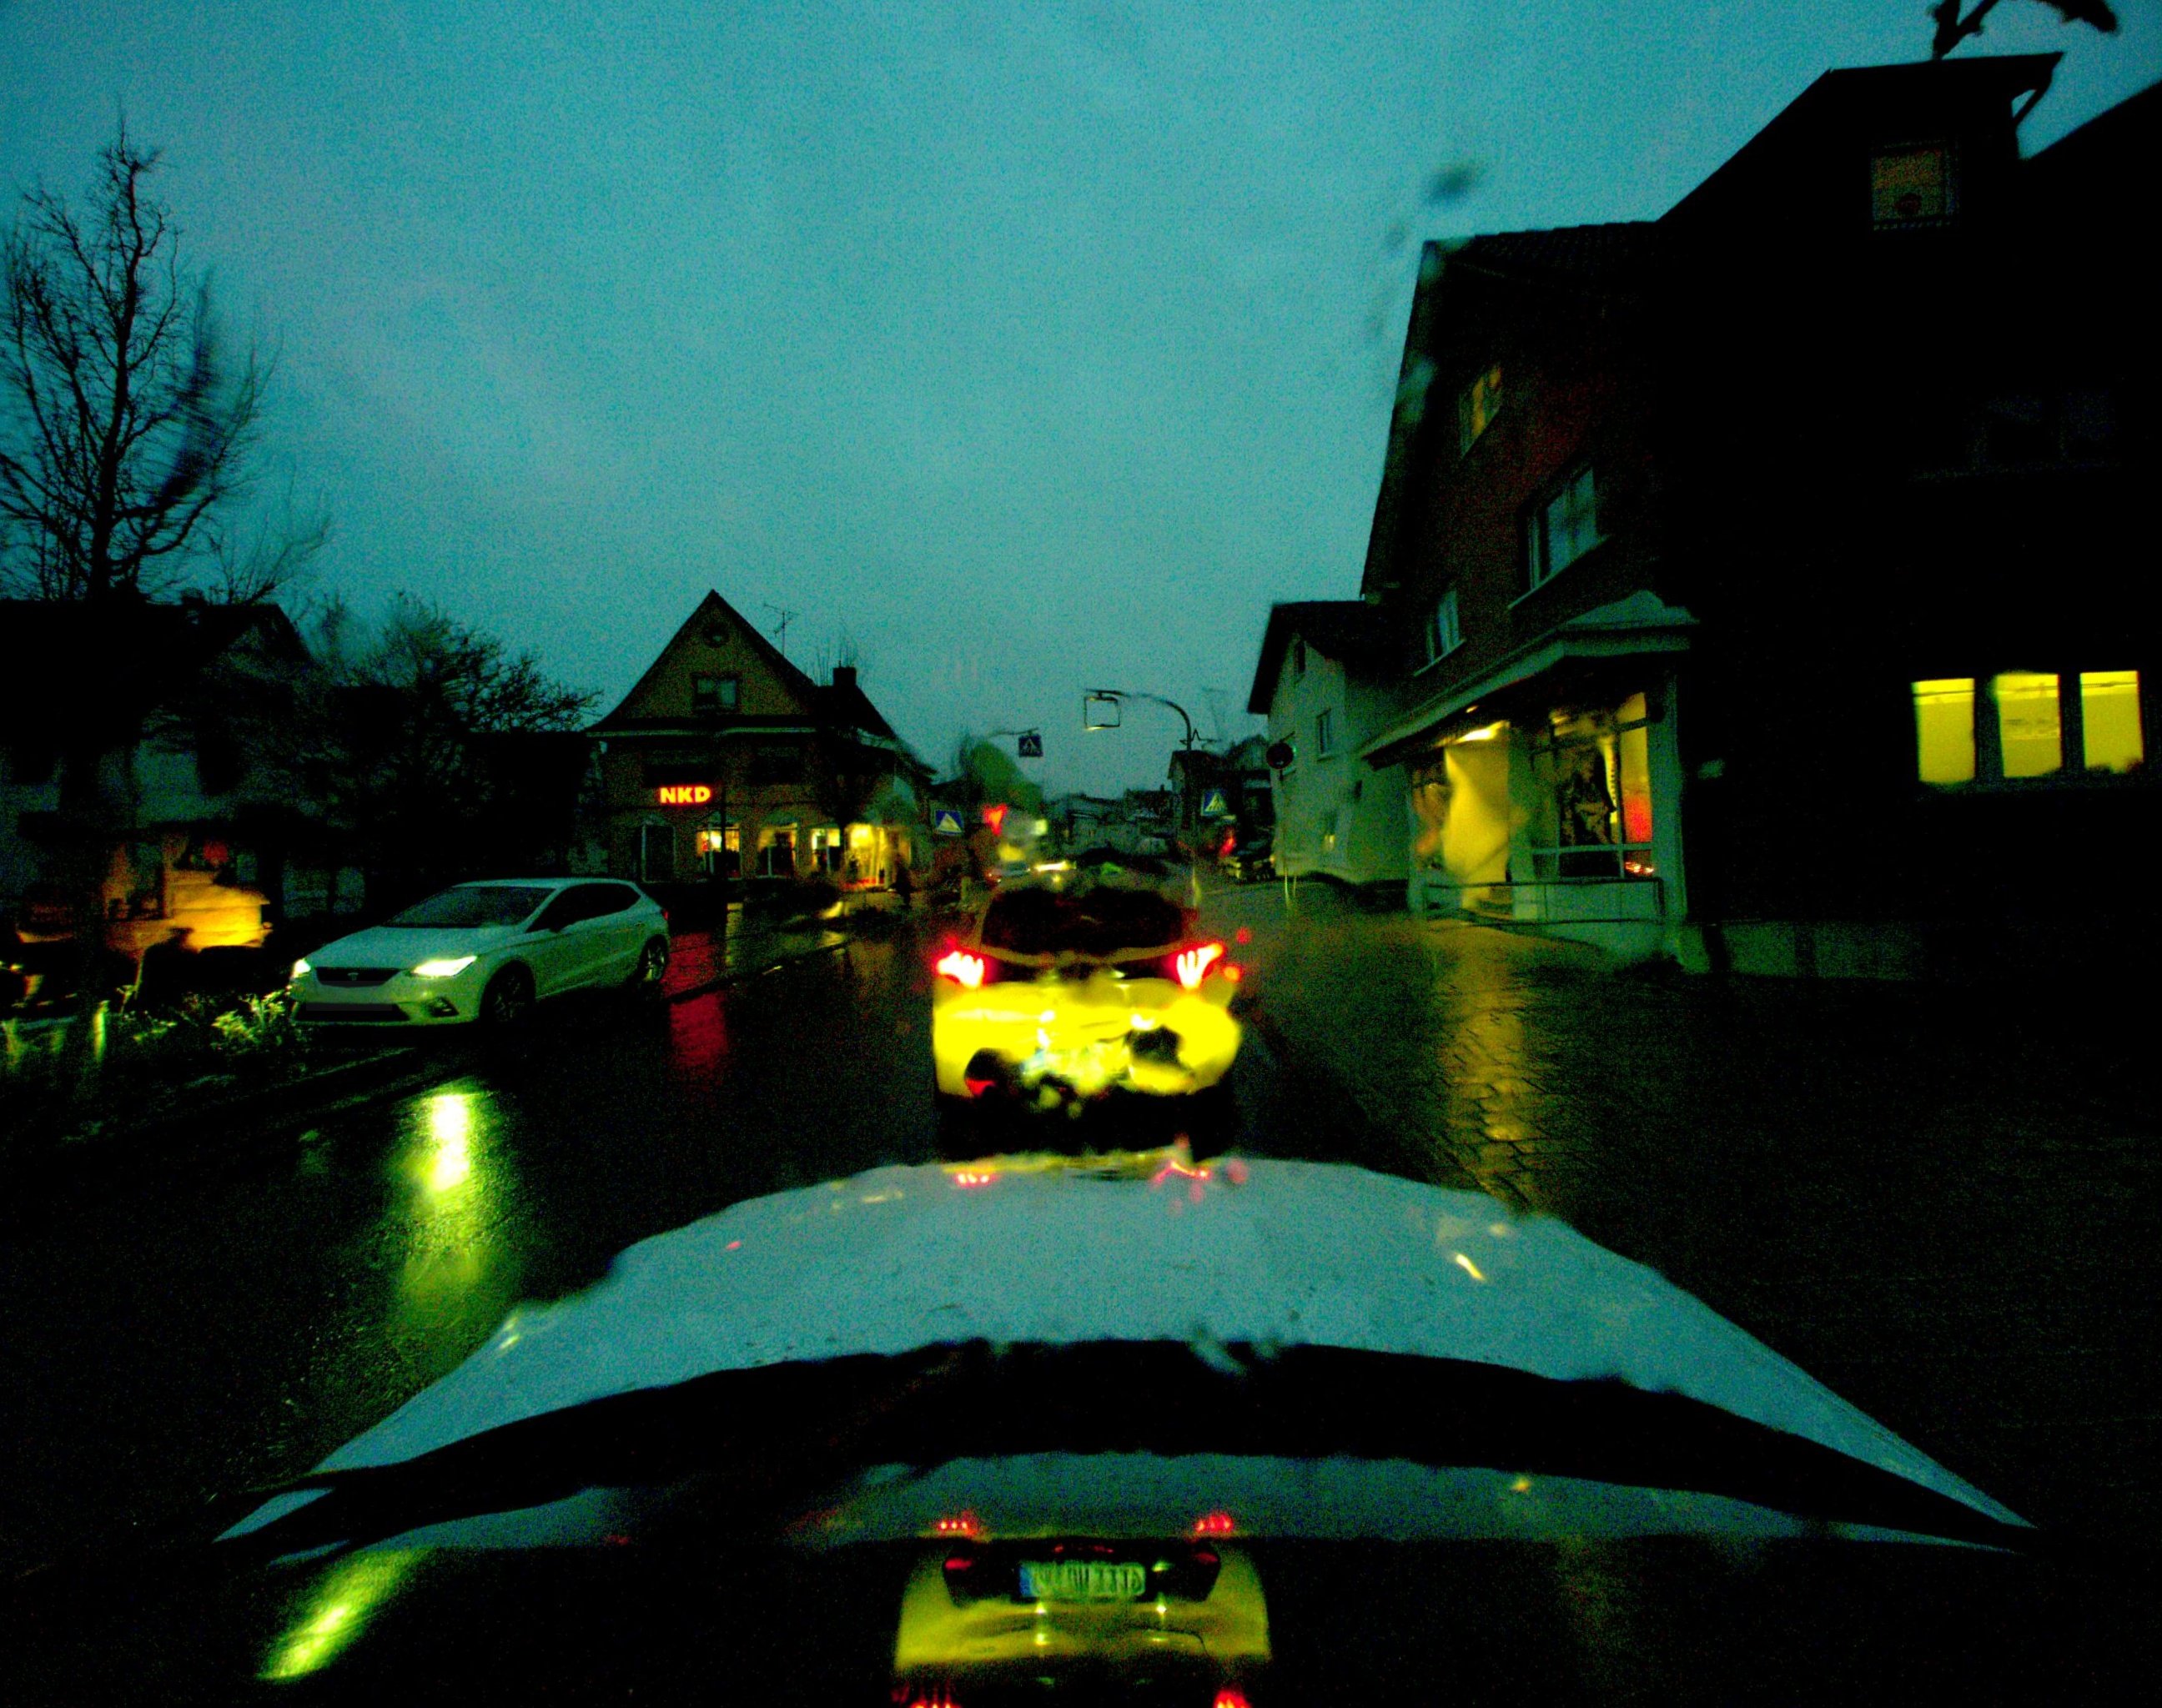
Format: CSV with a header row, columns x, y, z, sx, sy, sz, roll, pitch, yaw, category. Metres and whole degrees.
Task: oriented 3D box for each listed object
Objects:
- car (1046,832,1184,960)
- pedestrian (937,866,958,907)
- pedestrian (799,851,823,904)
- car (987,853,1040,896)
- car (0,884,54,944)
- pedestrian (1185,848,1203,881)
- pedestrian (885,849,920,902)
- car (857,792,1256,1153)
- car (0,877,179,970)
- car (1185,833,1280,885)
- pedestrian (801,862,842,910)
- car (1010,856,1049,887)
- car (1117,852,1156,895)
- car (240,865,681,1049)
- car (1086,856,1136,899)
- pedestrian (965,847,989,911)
x,y,z,sx,sy,sz,roll,pitch,yaw,category
0.563,0.570,12.691,1.790,1.662,4.003,-1,-1,3,car
-4.028,0.976,24.561,0.551,1.233,0.433,-1,-1,-2,pedestrian
-9.058,0.773,27.355,0.587,1.742,0.683,-1,-1,-6,pedestrian
-3.355,0.997,41.443,1.985,2.013,4.366,-1,0,4,car
-29.906,1.608,21.116,3.894,1.519,1.608,-1,0,-12,car
6.914,0.631,49.947,1.011,2.014,1.277,-1,-1,7,pedestrian
-5.919,0.701,27.016,0.971,1.742,0.960,0,0,-3,pedestrian
0.053,0.593,6.459,1.984,1.795,4.654,-2,0,5,car
-21.873,1.387,17.039,1.848,1.720,3.989,-1,-1,-8,car
6.136,0.216,33.391,3.679,2.014,1.691,-1,-1,5,car
-8.150,0.991,25.585,0.886,1.417,0.777,5,-1,6,pedestrian
-3.005,1.019,48.619,1.987,1.752,4.361,-1,0,0,car
2.799,0.941,41.810,1.637,2.013,3.999,-3,0,-1,car
-6.269,0.906,8.935,1.663,1.516,4.002,0,0,2,car
1.293,0.887,32.906,1.819,1.601,4.586,-1,0,4,car
-3.117,0.739,24.463,0.702,1.876,0.616,0,0,-5,pedestrian
